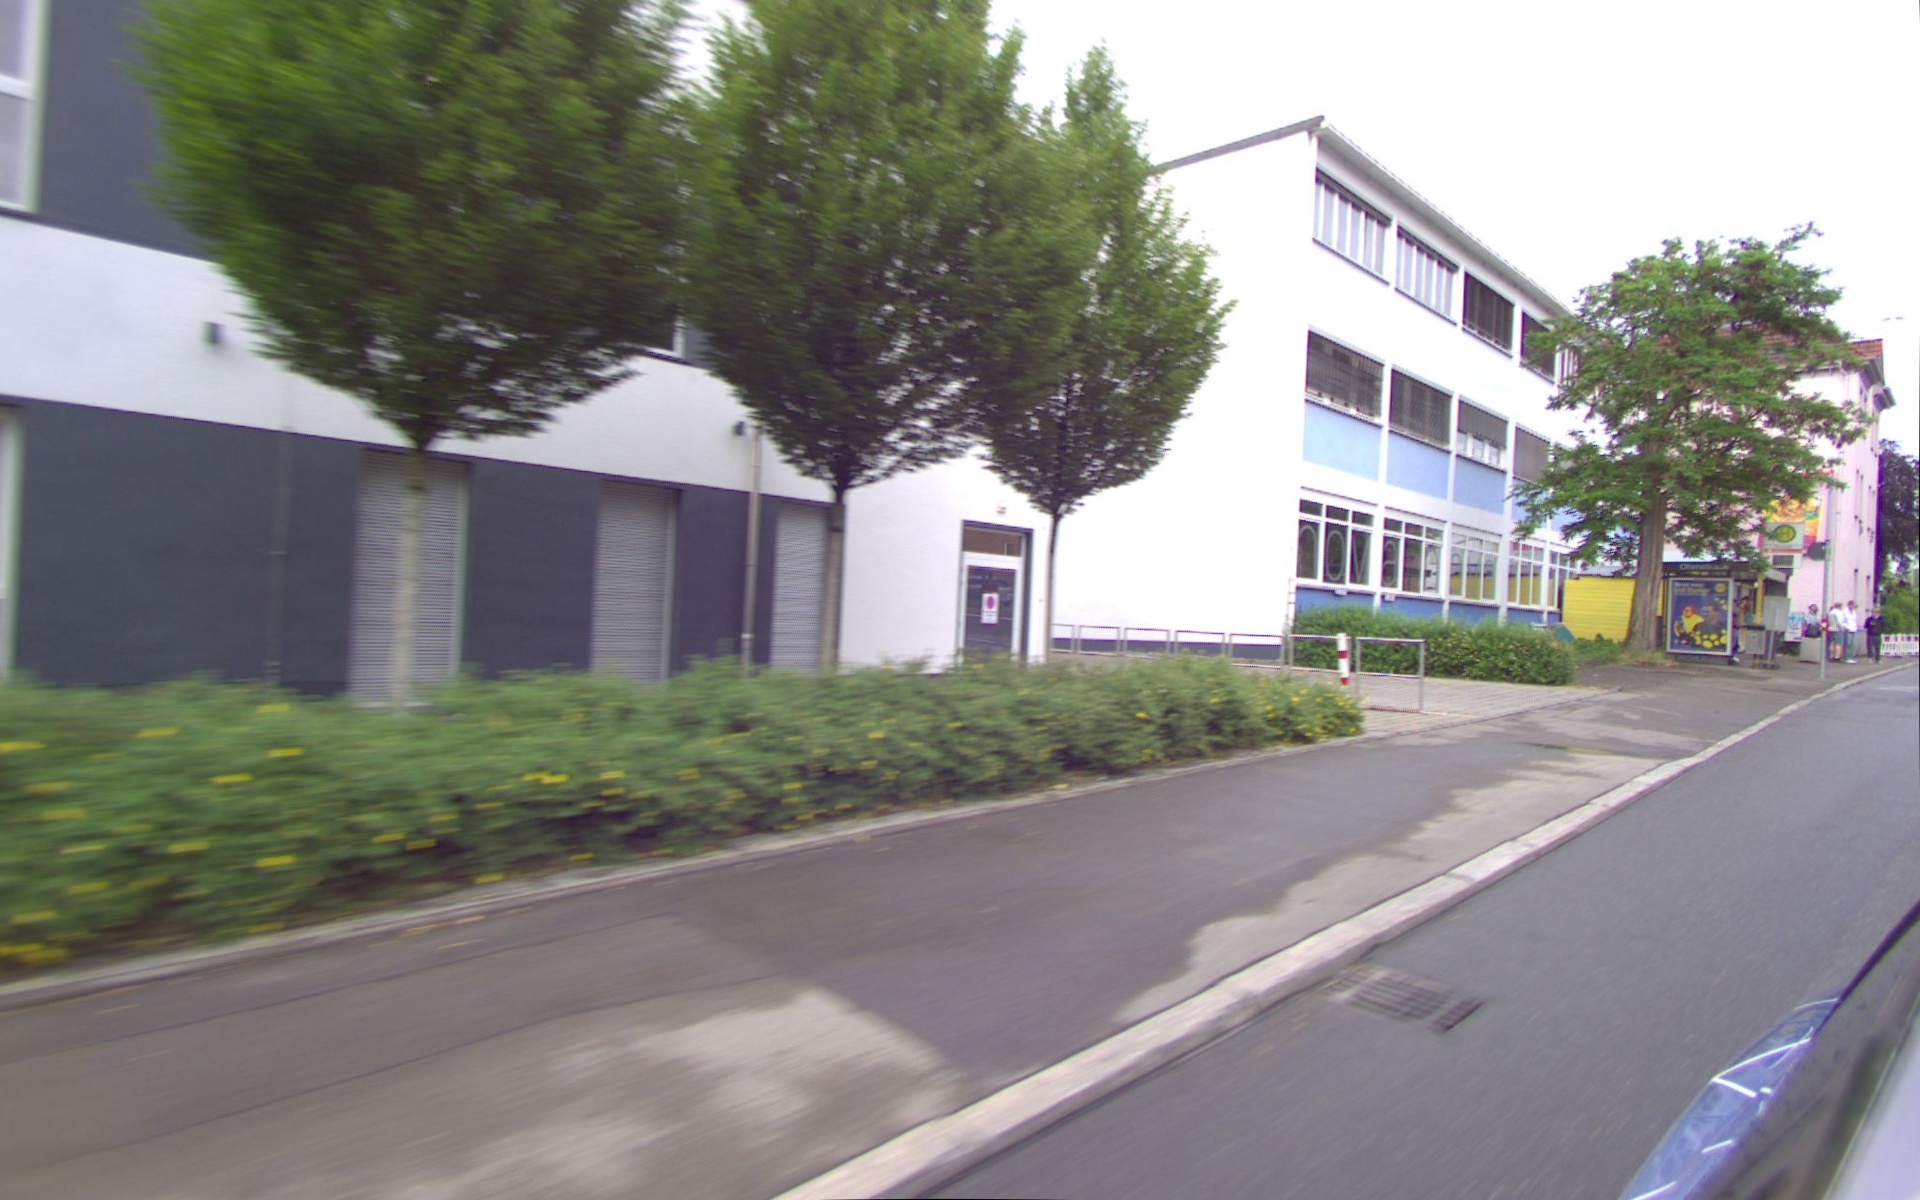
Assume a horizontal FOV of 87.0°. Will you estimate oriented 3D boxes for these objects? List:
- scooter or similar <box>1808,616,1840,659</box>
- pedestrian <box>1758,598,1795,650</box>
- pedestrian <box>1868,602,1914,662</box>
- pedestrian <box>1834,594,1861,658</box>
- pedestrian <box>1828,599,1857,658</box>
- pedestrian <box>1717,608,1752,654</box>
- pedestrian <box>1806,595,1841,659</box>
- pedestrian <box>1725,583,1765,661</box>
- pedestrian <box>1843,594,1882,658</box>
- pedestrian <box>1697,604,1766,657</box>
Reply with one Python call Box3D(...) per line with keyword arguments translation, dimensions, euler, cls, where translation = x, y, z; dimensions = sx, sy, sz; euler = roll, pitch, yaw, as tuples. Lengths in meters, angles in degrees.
Box3D(translation=(24.276, 1.044, 28.435), dimensions=(0.617, 1.154, 0.559), euler=(4, 2, 43), cls="scooter or similar")
Box3D(translation=(27.071, 0.802, 33.562), dimensions=(0.667, 1.645, 0.621), euler=(4, 2, 19), cls="pedestrian")
Box3D(translation=(28.306, 0.949, 30.774), dimensions=(0.627, 1.731, 0.746), euler=(4, 2, 14), cls="pedestrian")
Box3D(translation=(26.454, 0.765, 30.167), dimensions=(0.459, 1.863, 0.595), euler=(5, 2, 42), cls="pedestrian")
Box3D(translation=(26.775, 0.870, 30.715), dimensions=(0.547, 1.728, 0.448), euler=(2, 2, -37), cls="pedestrian")
Box3D(translation=(21.664, 0.866, 28.307), dimensions=(0.660, 1.214, 0.730), euler=(4, 1, 43), cls="pedestrian")
Box3D(translation=(24.685, 0.758, 28.934), dimensions=(0.660, 1.763, 0.816), euler=(4, 1, 42), cls="pedestrian")
Box3D(translation=(19.280, 0.522, 24.861), dimensions=(0.646, 1.854, 0.730), euler=(4, 1, 42), cls="pedestrian")
Box3D(translation=(27.506, 0.787, 30.845), dimensions=(0.619, 1.898, 0.489), euler=(3, 2, -15), cls="pedestrian")
Box3D(translation=(20.678, 0.807, 27.141), dimensions=(1.355, 1.289, 0.730), euler=(4, 2, 43), cls="pedestrian")
